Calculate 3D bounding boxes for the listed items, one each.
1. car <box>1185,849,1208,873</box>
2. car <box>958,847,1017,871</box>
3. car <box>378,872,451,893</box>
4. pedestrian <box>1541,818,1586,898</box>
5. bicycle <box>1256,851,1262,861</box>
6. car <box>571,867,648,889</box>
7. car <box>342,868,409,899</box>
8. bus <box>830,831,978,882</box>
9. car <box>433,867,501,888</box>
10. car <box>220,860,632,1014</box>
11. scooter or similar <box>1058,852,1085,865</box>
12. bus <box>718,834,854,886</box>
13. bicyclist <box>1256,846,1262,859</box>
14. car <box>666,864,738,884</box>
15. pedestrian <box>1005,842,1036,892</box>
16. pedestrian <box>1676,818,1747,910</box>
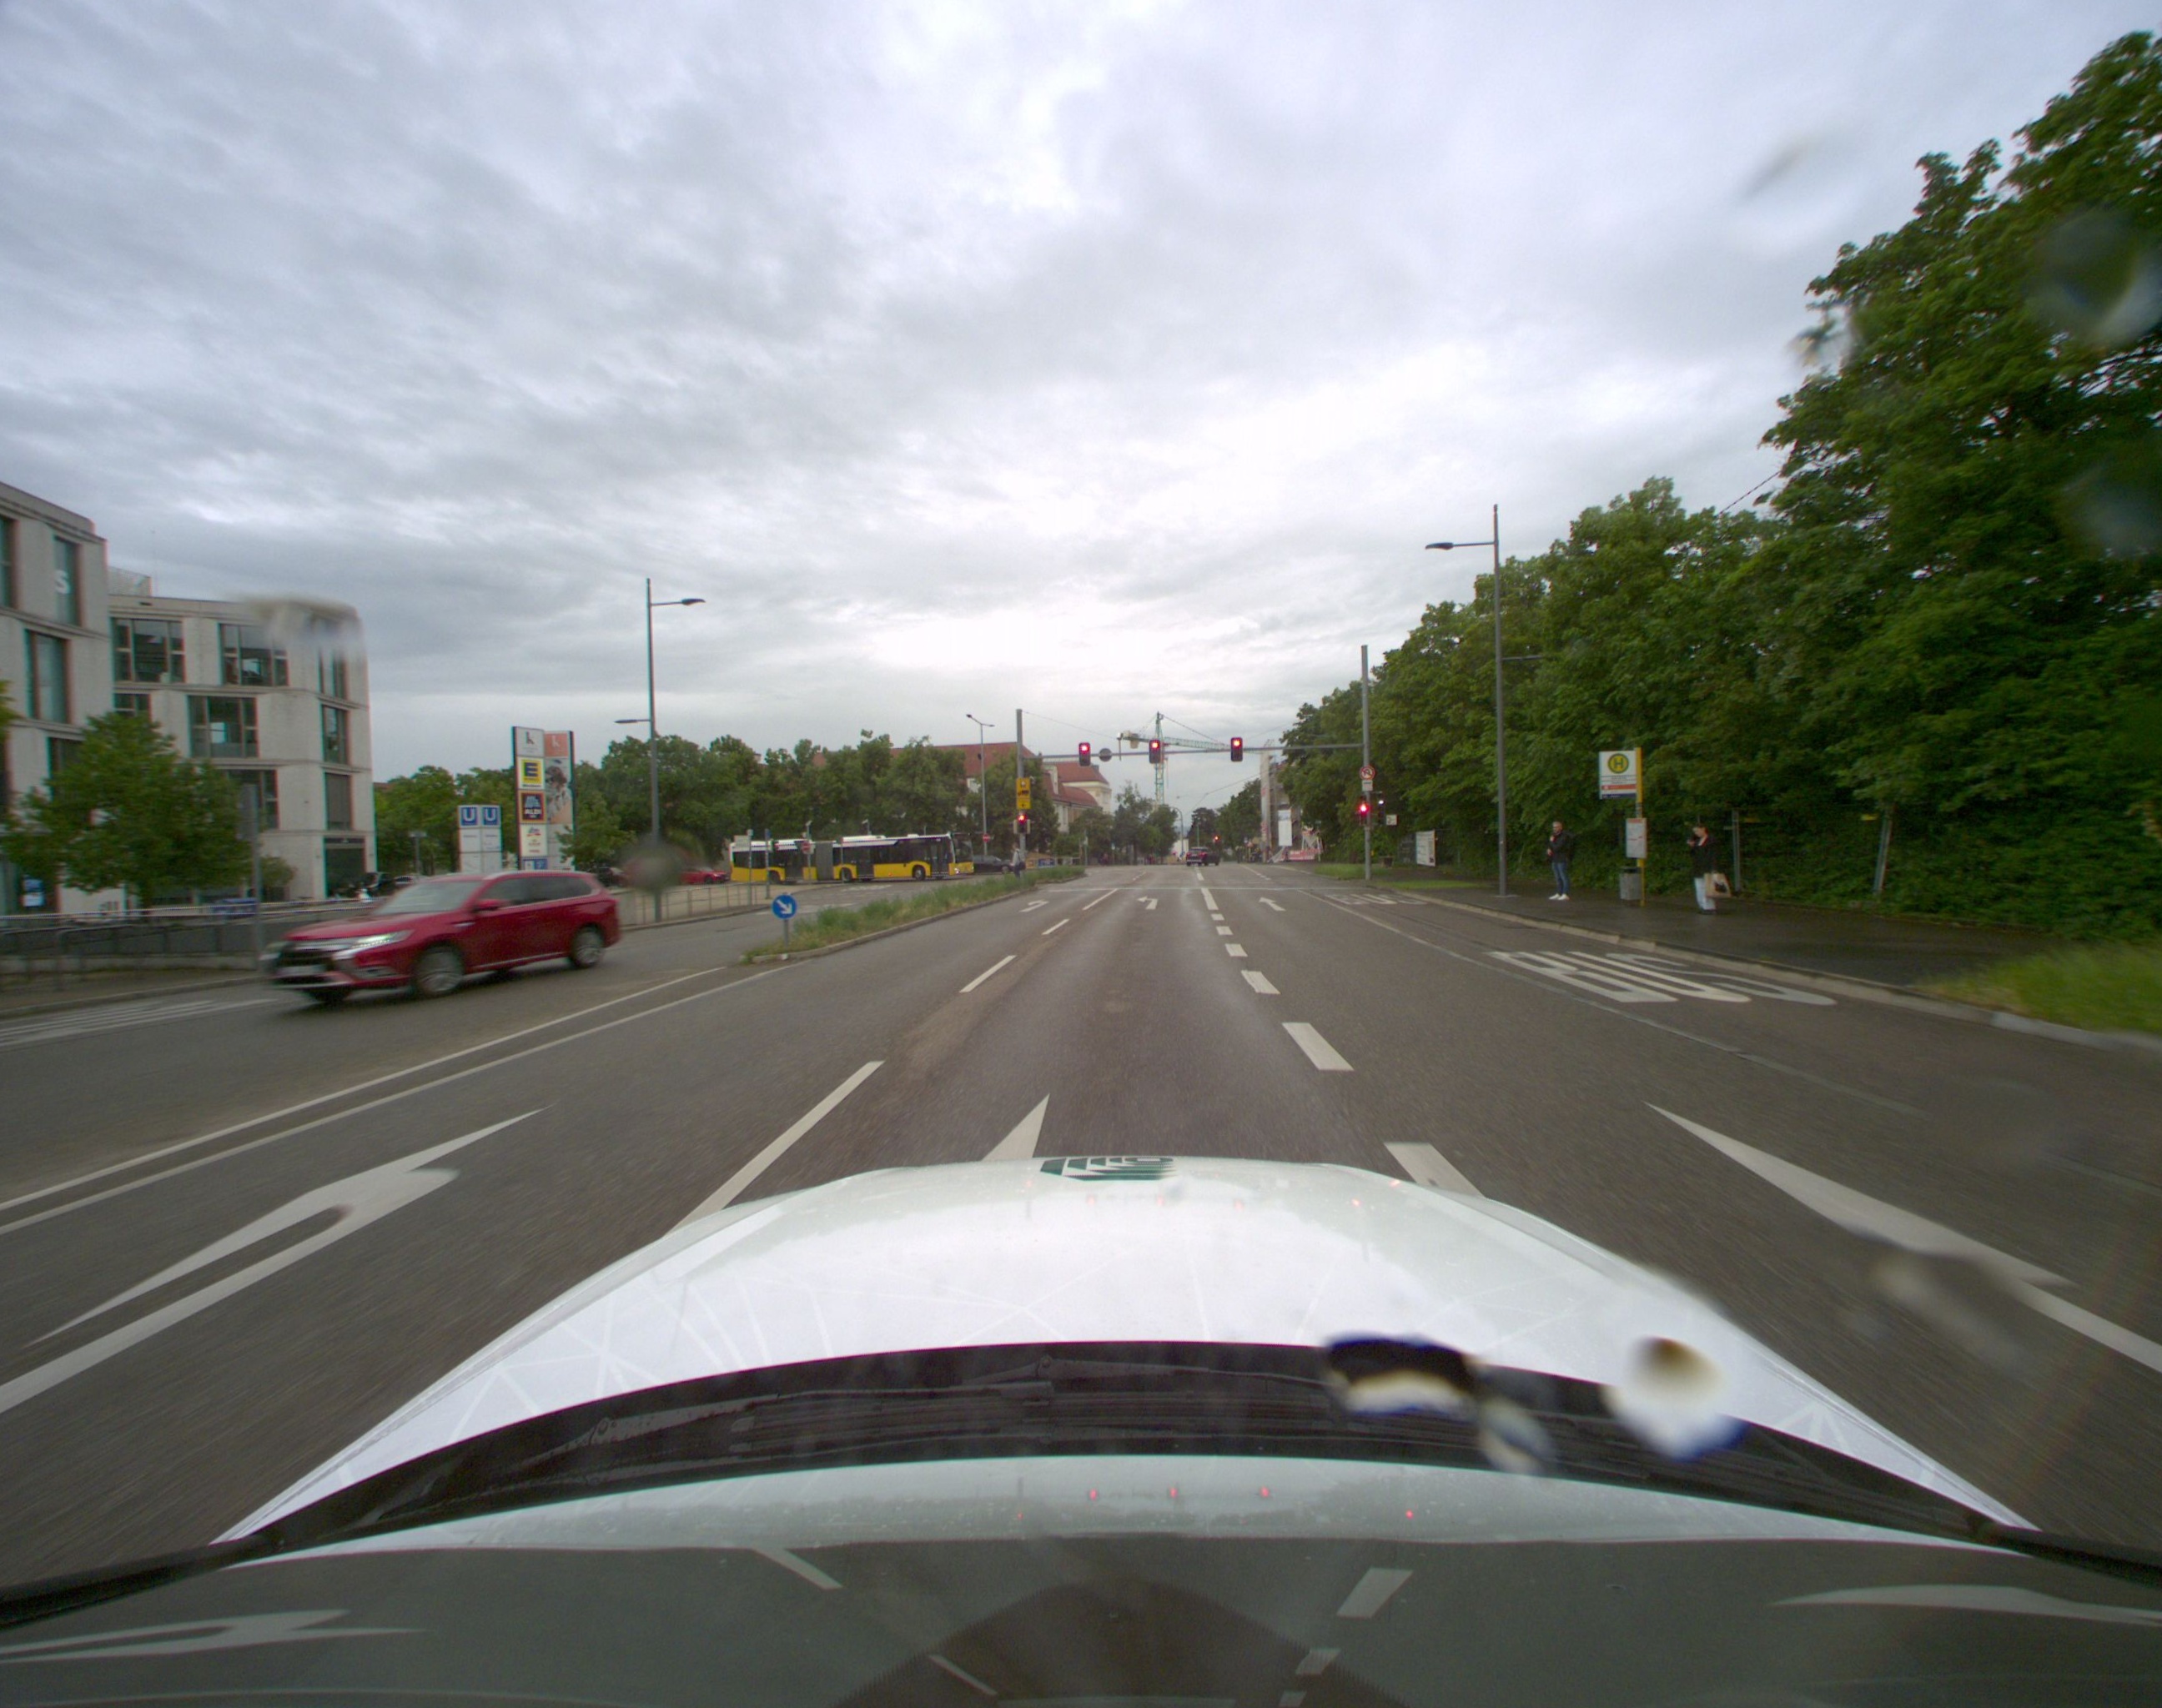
[{"bbox_3d":[10.169,0.644,72.112,1.934,2.021,4.560,0,-1,7],"label":"car"},{"bbox_3d":[-6.764,0.399,59.148,3.973,1.706,2.000,0,-1,0],"label":"car"},{"bbox_3d":[-47.252,2.010,57.793,3.947,1.425,1.671,-1,0,6],"label":"car"},{"bbox_3d":[11.738,0.092,19.831,0.638,1.901,0.719,-2,0,2],"label":"pedestrian"},{"bbox_3d":[21.774,0.222,99.606,0.716,1.193,1.760,0,-1,9],"label":"bicycle"},{"bbox_3d":[-34.287,1.729,59.272,4.424,1.425,2.003,-1,0,6],"label":"car"},{"bbox_3d":[-42.816,1.754,49.532,1.780,1.731,3.972,-2,0,-21],"label":"car"},{"bbox_3d":[-11.811,0.195,54.188,9.638,3.103,2.914,-2,0,23],"label":"bus"},{"bbox_3d":[-45.769,1.730,60.731,3.754,1.425,1.849,-1,0,6],"label":"car"},{"bbox_3d":[-9.222,1.028,12.174,1.843,1.683,4.747,-4,0,7],"label":"car"},{"bbox_3d":[-1.098,0.488,94.556,3.072,1.440,0.950,-2,0,5],"label":"scooter or similar"},{"bbox_3d":[-20.642,0.411,57.076,8.495,3.307,2.906,-2,0,9],"label":"bus"},{"bbox_3d":[21.768,-0.142,99.579,0.716,1.564,1.145,0,-1,9],"label":"bicyclist"},{"bbox_3d":[-28.741,1.503,61.838,4.548,1.425,2.004,0,-1,7],"label":"car"},{"bbox_3d":[-2.533,0.539,34.133,0.934,2.013,0.850,-4,0,12],"label":"pedestrian"},{"bbox_3d":[11.798,0.186,15.256,0.673,1.658,0.793,-2,0,2],"label":"pedestrian"}]
